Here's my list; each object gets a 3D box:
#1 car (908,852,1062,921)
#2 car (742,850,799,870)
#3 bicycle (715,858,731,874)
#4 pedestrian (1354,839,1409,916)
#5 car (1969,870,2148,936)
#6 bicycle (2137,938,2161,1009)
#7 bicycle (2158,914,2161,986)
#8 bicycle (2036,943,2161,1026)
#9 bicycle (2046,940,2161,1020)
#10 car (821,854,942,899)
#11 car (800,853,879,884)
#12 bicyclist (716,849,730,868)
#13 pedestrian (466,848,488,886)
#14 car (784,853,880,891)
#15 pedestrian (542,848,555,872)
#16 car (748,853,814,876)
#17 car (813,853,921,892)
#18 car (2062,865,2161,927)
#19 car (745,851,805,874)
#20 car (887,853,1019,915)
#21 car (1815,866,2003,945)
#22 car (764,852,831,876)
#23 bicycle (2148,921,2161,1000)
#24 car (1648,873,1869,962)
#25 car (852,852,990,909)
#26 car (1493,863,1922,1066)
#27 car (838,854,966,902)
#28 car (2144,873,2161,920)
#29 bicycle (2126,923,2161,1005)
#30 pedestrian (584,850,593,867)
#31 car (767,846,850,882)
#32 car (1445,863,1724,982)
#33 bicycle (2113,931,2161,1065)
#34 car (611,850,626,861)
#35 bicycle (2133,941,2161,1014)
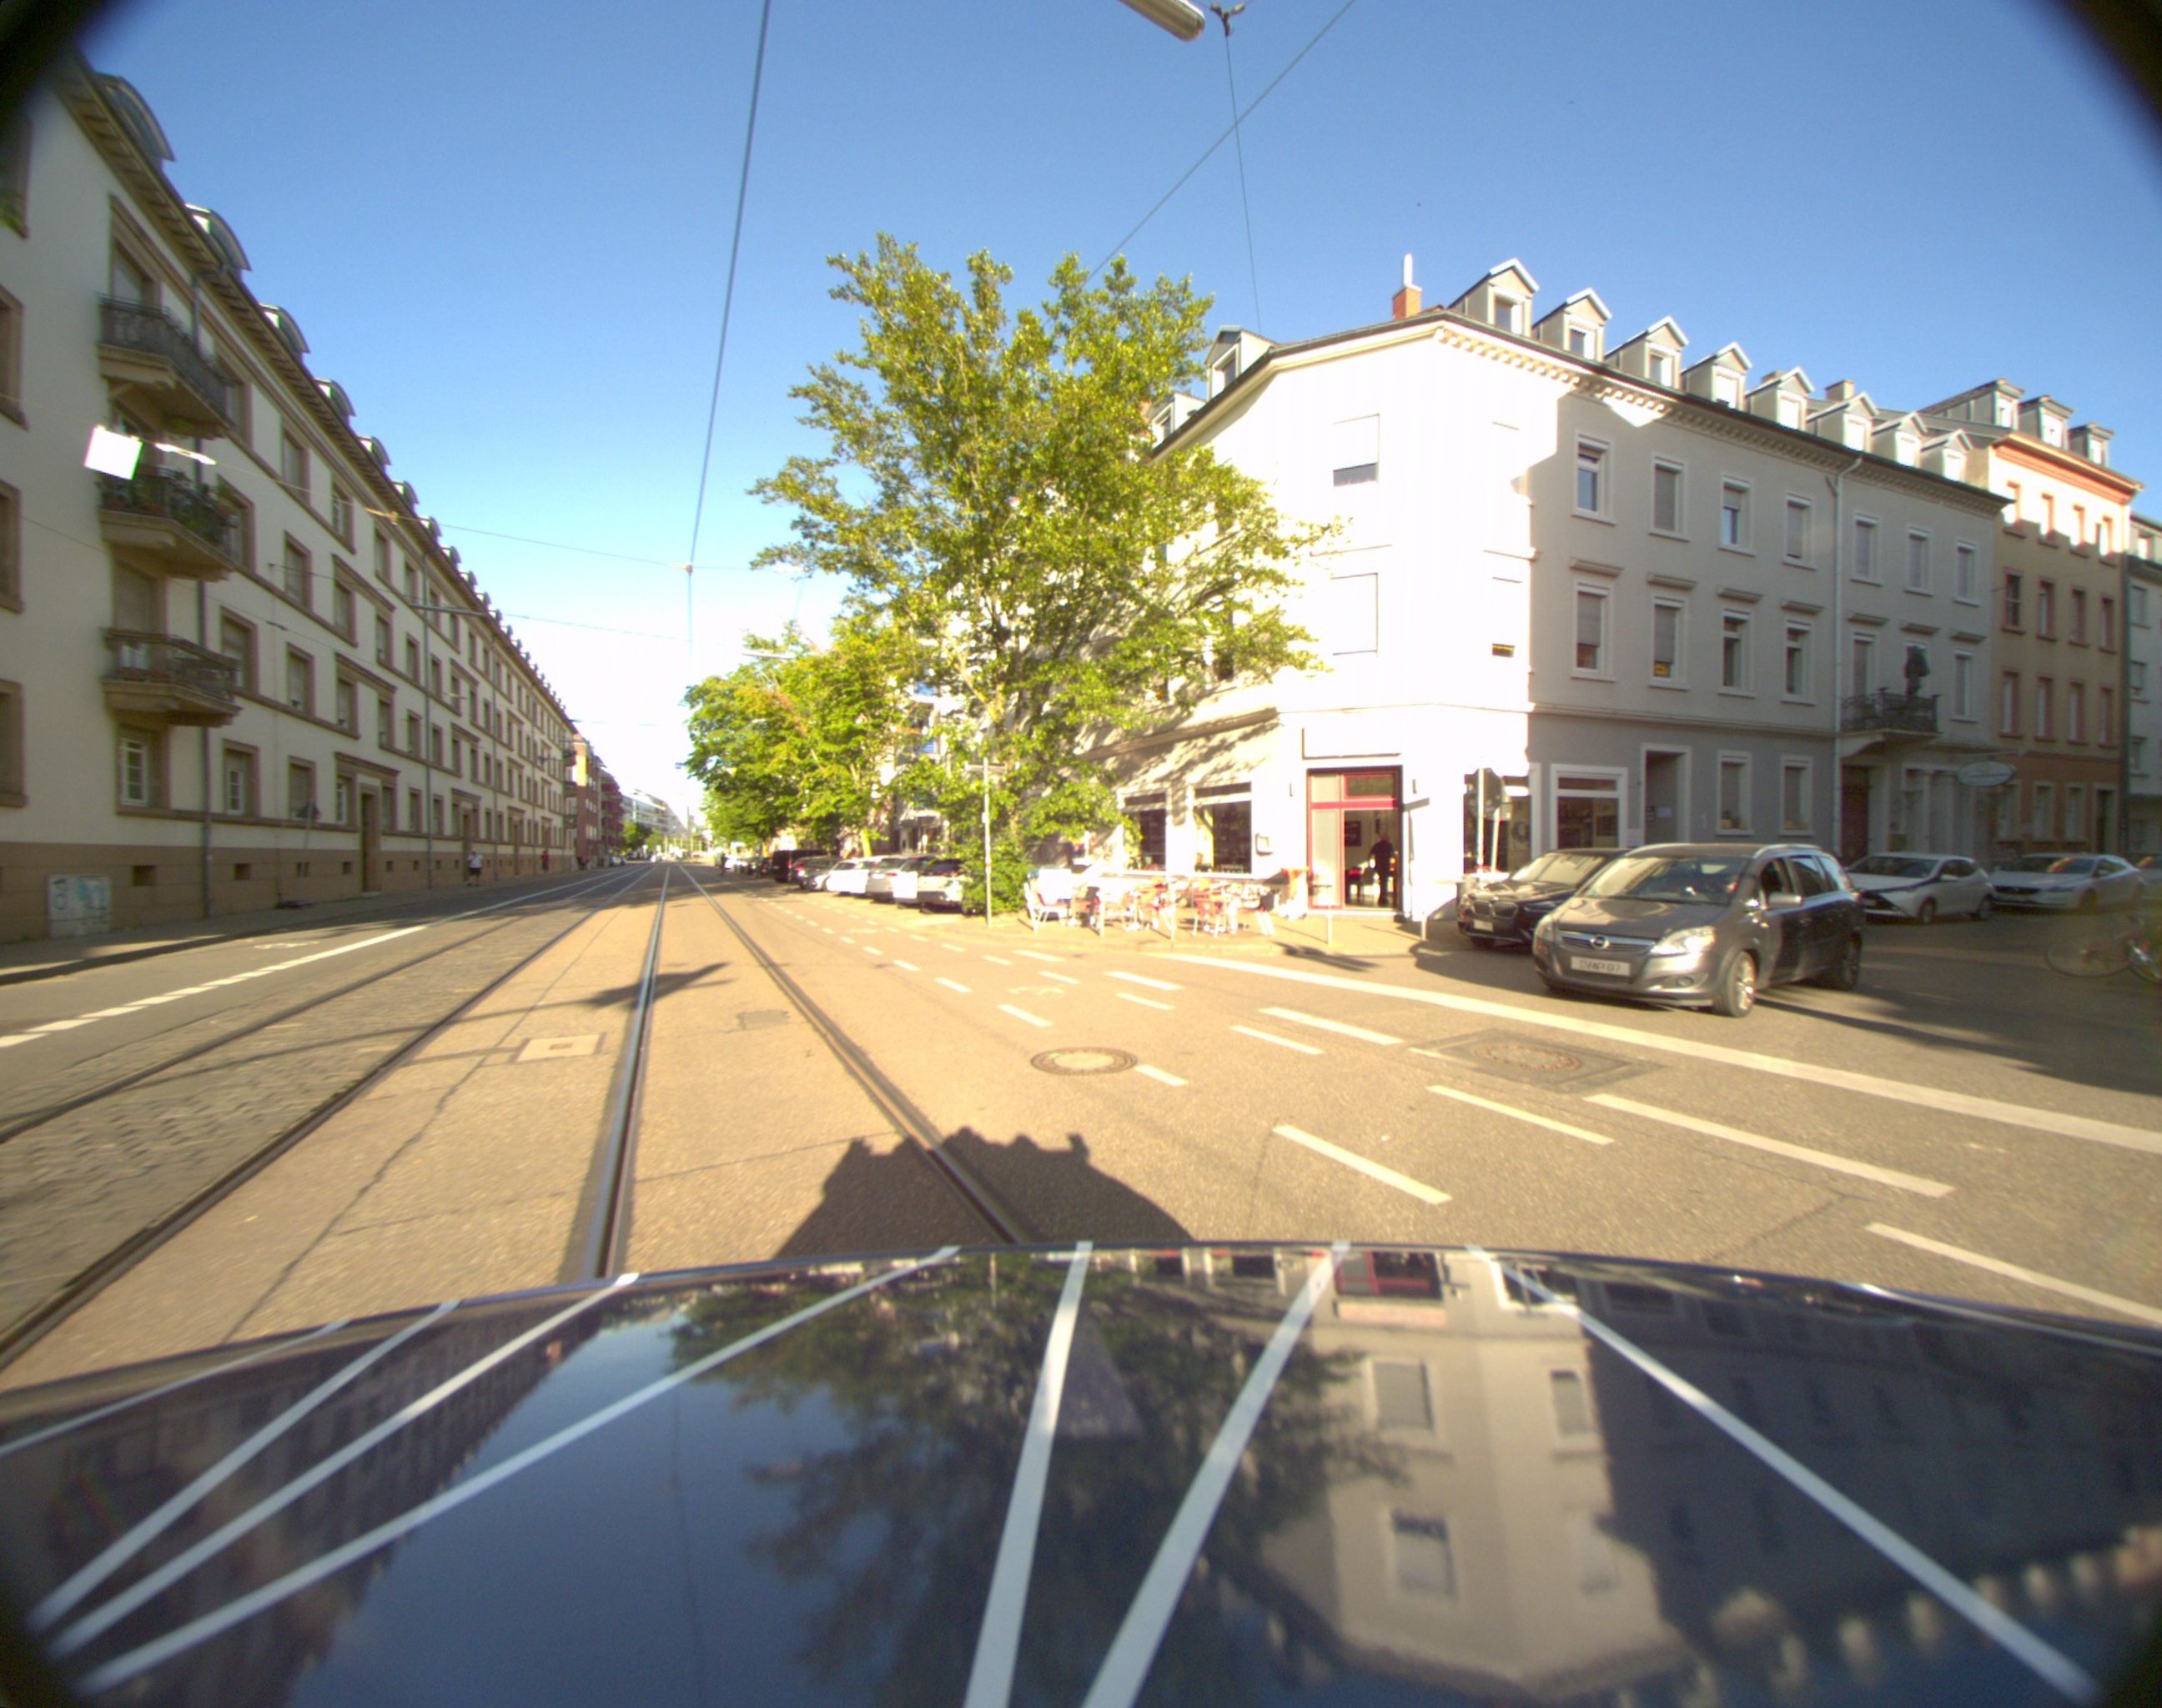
[{"bbox_3d":[-2.453,0.772,20.346,1.615,1.547,4.143,1,2,38],"label":"car"},{"bbox_3d":[-26.192,0.480,64.159,4.144,1.480,1.615,-2,3,-43],"label":"car"},{"bbox_3d":[-27.514,0.897,58.367,0.903,1.158,3.241,0,0,-28],"label":"bicycle"},{"bbox_3d":[7.246,0.550,18.332,0.853,1.789,0.862,0,1,-32],"label":"pedestrian"},{"bbox_3d":[24.578,1.165,19.102,4.195,1.501,1.682,0,-1,-22],"label":"car"},{"bbox_3d":[13.377,1.471,8.775,0.382,0.813,1.309,0,3,-31],"label":"bicycle"},{"bbox_3d":[14.827,1.279,9.343,0.443,0.956,1.767,0,0,-22],"label":"bicycle"},{"bbox_3d":[12.126,1.510,8.778,0.372,0.813,1.309,0,1,-31],"label":"bicycle"},{"bbox_3d":[12.470,1.500,8.953,0.356,0.813,1.309,0,1,-31],"label":"bicycle"},{"bbox_3d":[-7.550,0.794,28.986,4.143,1.480,1.615,-2,3,-42],"label":"car"},{"bbox_3d":[-13.221,0.754,41.883,1.616,1.480,4.143,1,2,30],"label":"car"},{"bbox_3d":[-27.531,0.366,58.398,0.903,1.445,1.260,0,1,-28],"label":"bicyclist"},{"bbox_3d":[-29.599,0.612,37.213,0.739,1.827,0.695,0,1,-29],"label":"pedestrian"},{"bbox_3d":[-11.312,0.782,34.835,1.616,1.480,4.143,1,2,30],"label":"car"},{"bbox_3d":[-40.698,0.431,58.123,0.739,1.827,0.695,0,1,-29],"label":"pedestrian"},{"bbox_3d":[-22.025,0.749,55.841,4.144,1.480,1.615,-2,3,-43],"label":"car"},{"bbox_3d":[-9.203,0.751,32.806,4.142,1.480,1.616,-2,2,-34],"label":"car"},{"bbox_3d":[29.855,1.111,21.263,4.194,1.587,1.682,0,-1,-19],"label":"car"},{"bbox_3d":[-24.605,0.638,61.264,4.144,1.653,1.615,-2,3,-43],"label":"car"},{"bbox_3d":[-3.696,0.798,22.744,1.616,1.547,4.143,1,2,30],"label":"car"},{"bbox_3d":[18.426,1.082,16.910,3.793,1.577,1.639,0,-1,-23],"label":"car"},{"bbox_3d":[-19.578,0.697,52.469,4.141,1.480,1.616,-2,2,-28],"label":"car"},{"bbox_3d":[14.116,1.351,8.949,0.482,0.956,1.766,0,1,-33],"label":"bicycle"},{"bbox_3d":[13.101,1.141,14.690,3.959,1.494,1.648,0,-1,-23],"label":"car"},{"bbox_3d":[-5.051,0.761,24.412,1.615,1.547,4.144,1,3,43],"label":"car"},{"bbox_3d":[6.997,0.952,8.332,5.192,1.652,1.796,0,-1,-29],"label":"car"},{"bbox_3d":[-6.321,0.792,27.138,4.143,1.480,1.615,-2,3,-42],"label":"car"},{"bbox_3d":[34.387,1.265,22.864,4.500,1.386,1.770,0,-1,-22],"label":"car"},{"bbox_3d":[13.686,1.368,8.828,0.428,0.956,1.766,0,1,-28],"label":"bicycle"},{"bbox_3d":[-52.708,0.467,81.304,0.739,1.827,0.695,0,1,-29],"label":"pedestrian"},{"bbox_3d":[-15.325,0.510,42.963,1.884,1.877,4.143,1,2,30],"label":"car"},{"bbox_3d":[8.234,1.001,12.415,4.202,1.652,1.763,0,-1,-23],"label":"car"},{"bbox_3d":[8.721,1.159,5.714,0.457,1.039,1.691,1,-2,28],"label":"bicycle"},{"bbox_3d":[-69.452,0.252,114.078,1.893,1.674,4.382,-1,0,-31],"label":"car"},{"bbox_3d":[13.097,1.493,8.562,0.362,0.813,1.387,0,3,-31],"label":"bicycle"}]
